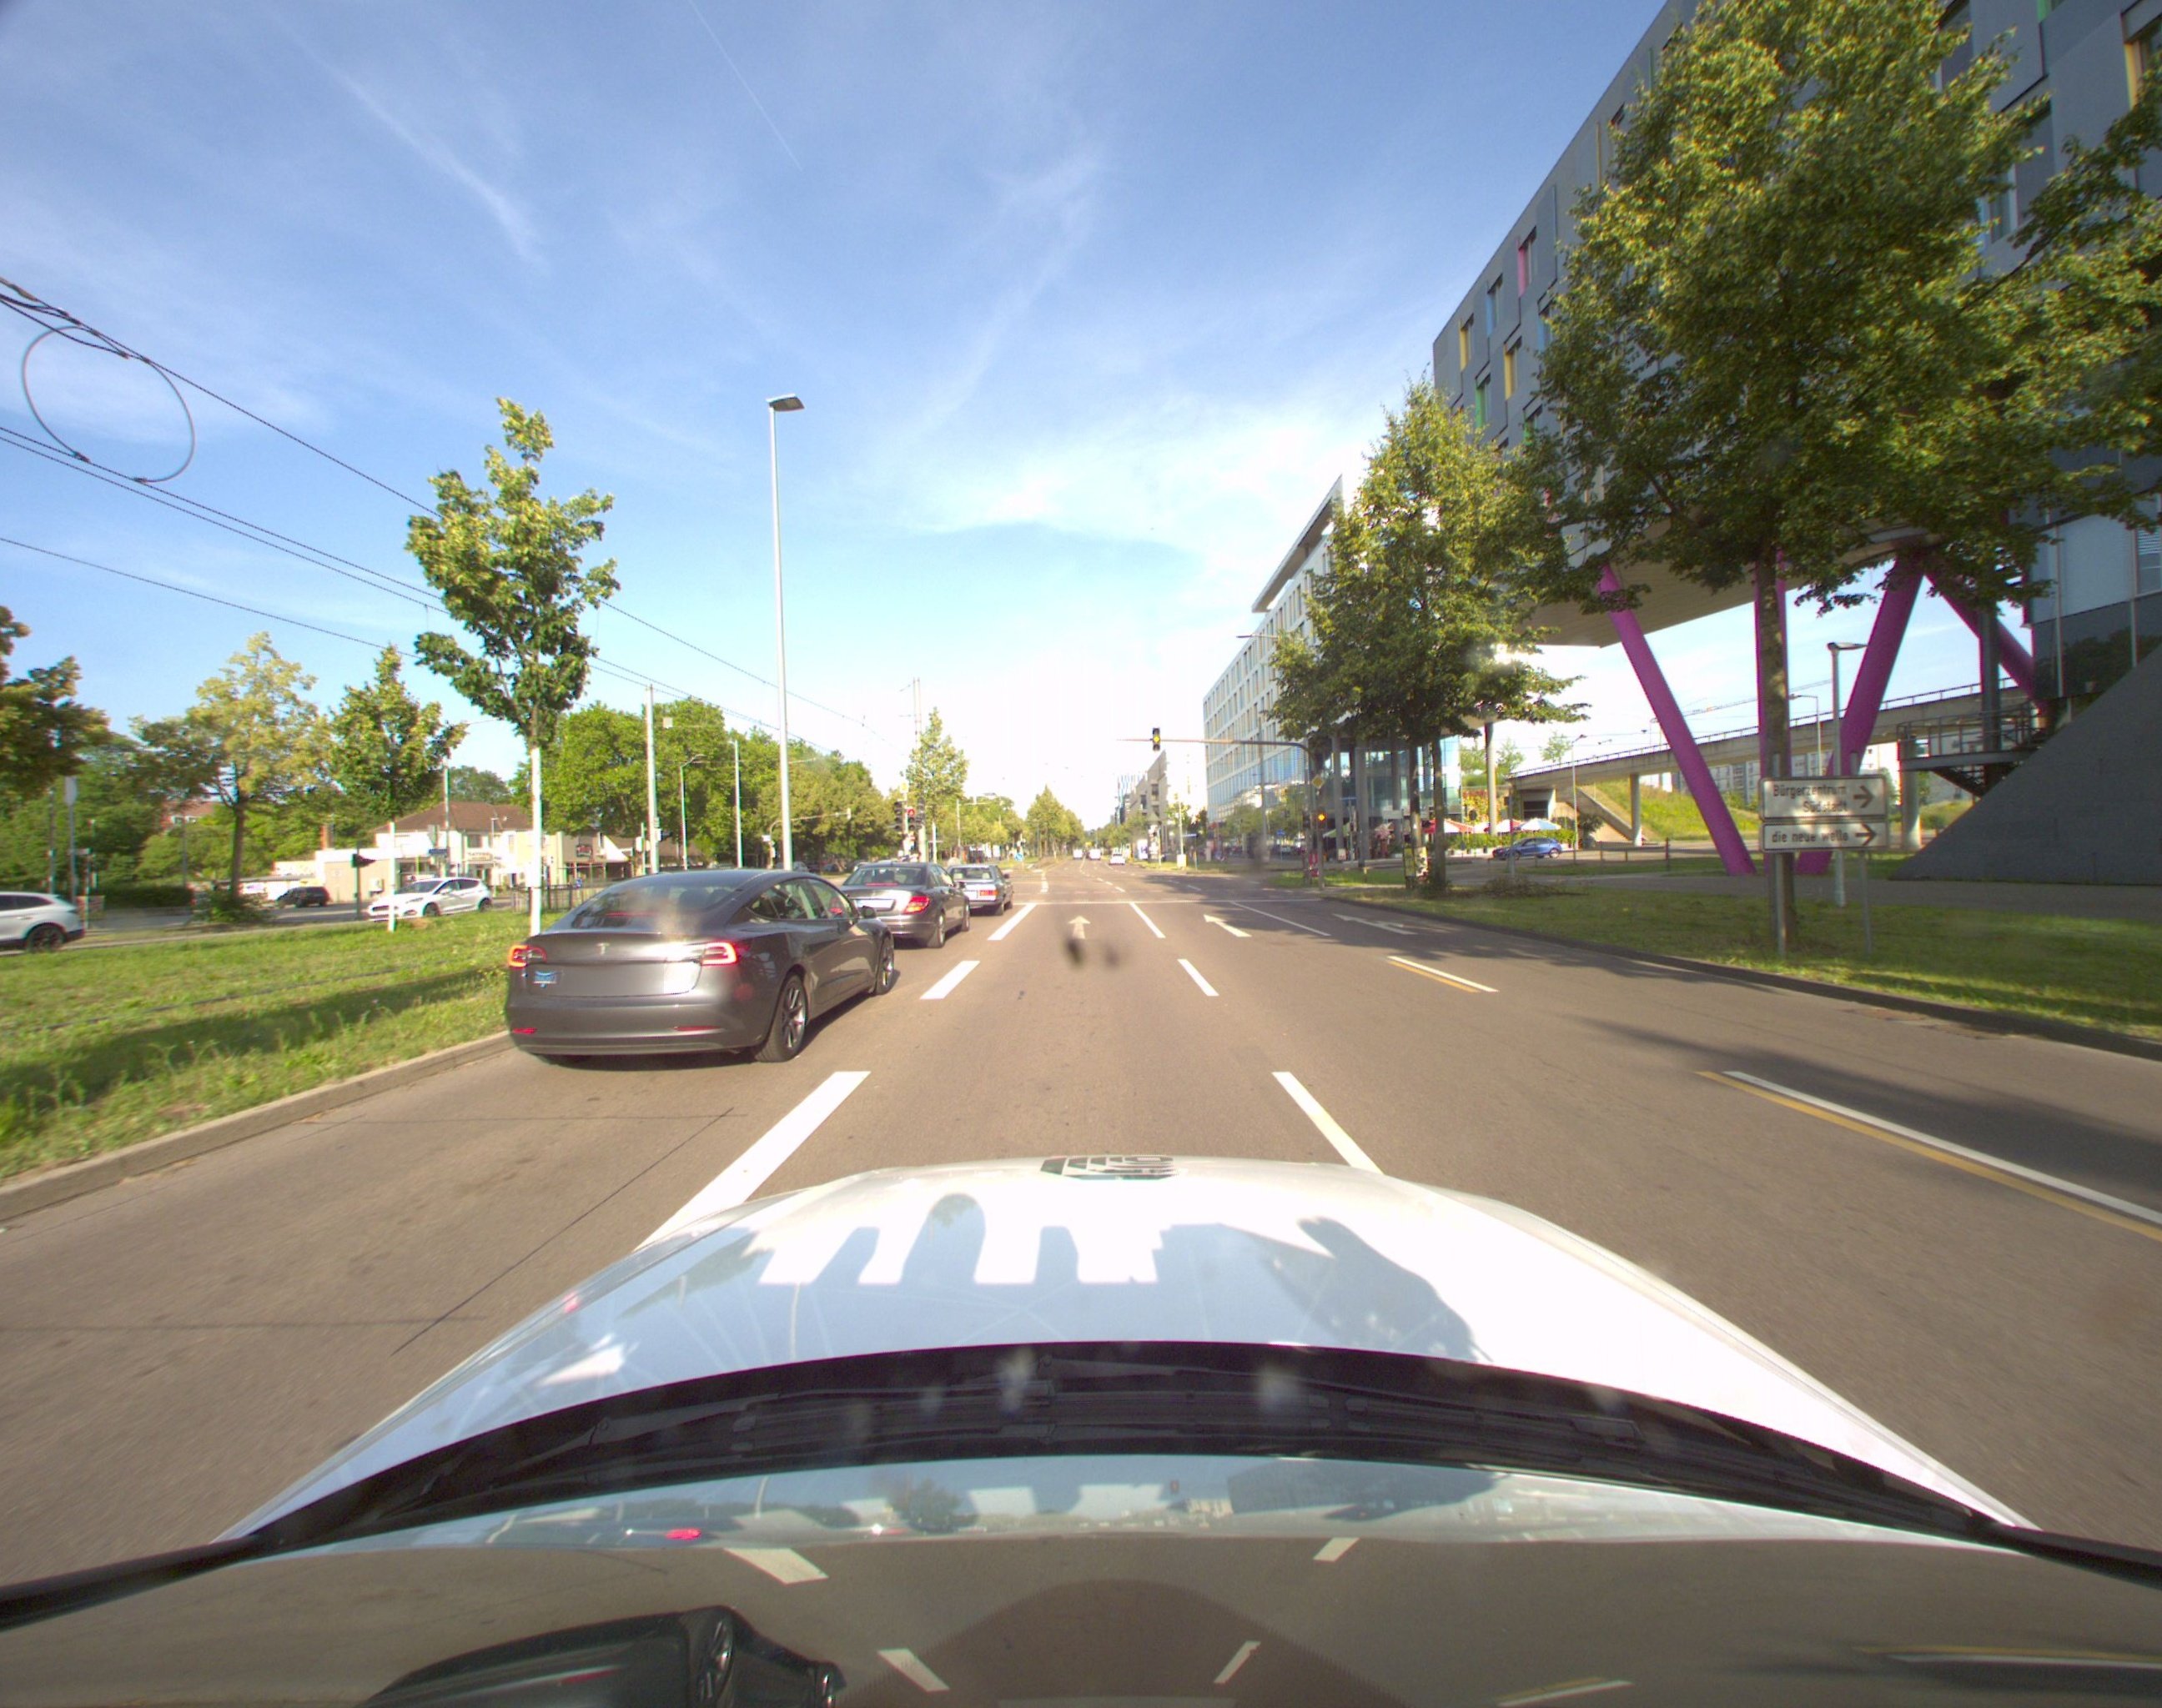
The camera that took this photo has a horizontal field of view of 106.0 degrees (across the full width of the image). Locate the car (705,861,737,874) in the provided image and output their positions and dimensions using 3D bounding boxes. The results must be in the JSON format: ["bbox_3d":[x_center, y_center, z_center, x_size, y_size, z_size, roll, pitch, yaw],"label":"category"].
[{"bbox_3d":[-45.596,1.699,103.287,1.872,1.559,4.007,-2,0,6],"label":"car"}]

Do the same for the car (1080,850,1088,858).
[{"bbox_3d":[0.673,-0.044,181.953,1.918,1.684,3.999,0,1,-1],"label":"car"}]

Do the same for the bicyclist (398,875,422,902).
[{"bbox_3d":[-39.328,2.030,47.729,0.850,1.493,0.694,-2,0,-22],"label":"bicyclist"}]

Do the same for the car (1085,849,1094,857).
[{"bbox_3d":[1.739,-0.257,167.503,1.917,1.684,4.001,0,1,1],"label":"car"}]

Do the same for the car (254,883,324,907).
[{"bbox_3d":[-64.478,3.357,66.319,3.965,1.728,2.004,-2,0,7],"label":"car"}]

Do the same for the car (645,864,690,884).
[{"bbox_3d":[-39.427,1.879,77.730,1.872,1.750,4.007,-2,0,6],"label":"car"}]

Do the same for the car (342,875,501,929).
[{"bbox_3d":[-22.764,1.600,28.363,1.987,1.527,4.311,-2,1,-1],"label":"car"}]

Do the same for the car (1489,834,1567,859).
[{"bbox_3d":[29.772,-0.528,54.270,4.171,1.424,1.859,-3,1,-1],"label":"car"}]

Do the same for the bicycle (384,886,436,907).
[{"bbox_3d":[-39.323,2.492,47.721,2.204,1.041,0.694,-2,0,-23],"label":"bicycle"}]

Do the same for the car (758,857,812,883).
[{"bbox_3d":[-21.993,1.162,60.812,1.986,1.684,4.998,-2,1,2],"label":"car"}]

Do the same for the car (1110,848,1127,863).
[{"bbox_3d":[4.377,0.148,96.166,1.857,1.684,4.001,0,1,1],"label":"car"}]

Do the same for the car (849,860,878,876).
[{"bbox_3d":[-24.212,1.560,90.919,1.869,1.527,4.226,-2,1,2],"label":"car"}]

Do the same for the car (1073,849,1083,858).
[{"bbox_3d":[-0.576,-0.198,157.979,2.007,1.684,4.001,0,1,1],"label":"car"}]

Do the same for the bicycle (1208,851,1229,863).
[{"bbox_3d":[12.708,0.246,75.418,0.778,1.032,1.856,-2,3,-43],"label":"bicycle"}]

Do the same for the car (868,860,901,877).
[{"bbox_3d":[-18.400,1.345,76.260,1.987,1.504,4.093,-3,-1,0],"label":"car"}]

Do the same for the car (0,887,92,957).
[{"bbox_3d":[-26.206,1.671,18.509,1.899,1.527,4.442,-2,1,1],"label":"car"}]

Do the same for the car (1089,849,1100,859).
[{"bbox_3d":[2.380,-0.043,140.512,1.857,1.684,4.001,0,1,1],"label":"car"}]

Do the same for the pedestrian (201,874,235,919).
[{"bbox_3d":[-42.467,2.090,40.085,0.715,2.107,0.887,-4,0,30],"label":"pedestrian"}]

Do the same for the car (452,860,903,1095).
[{"bbox_3d":[-3.020,0.793,7.316,1.884,1.385,4.334,0,1,0],"label":"car"}]

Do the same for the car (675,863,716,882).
[{"bbox_3d":[-39.023,1.813,82.490,1.872,1.750,4.007,-2,0,6],"label":"car"}]

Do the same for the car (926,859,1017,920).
[{"bbox_3d":[-2.715,0.828,21.070,1.758,1.330,4.399,0,1,0],"label":"car"}]

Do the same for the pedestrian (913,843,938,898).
[{"bbox_3d":[-5.148,0.528,26.976,0.697,1.792,0.635,-1,0,1],"label":"pedestrian"}]

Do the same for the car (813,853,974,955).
[{"bbox_3d":[-3.106,0.755,14.443,1.780,1.478,4.354,0,1,1],"label":"car"}]

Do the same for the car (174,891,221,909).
[{"bbox_3d":[-82.746,4.287,76.268,3.898,1.471,1.708,-2,0,22],"label":"car"}]
